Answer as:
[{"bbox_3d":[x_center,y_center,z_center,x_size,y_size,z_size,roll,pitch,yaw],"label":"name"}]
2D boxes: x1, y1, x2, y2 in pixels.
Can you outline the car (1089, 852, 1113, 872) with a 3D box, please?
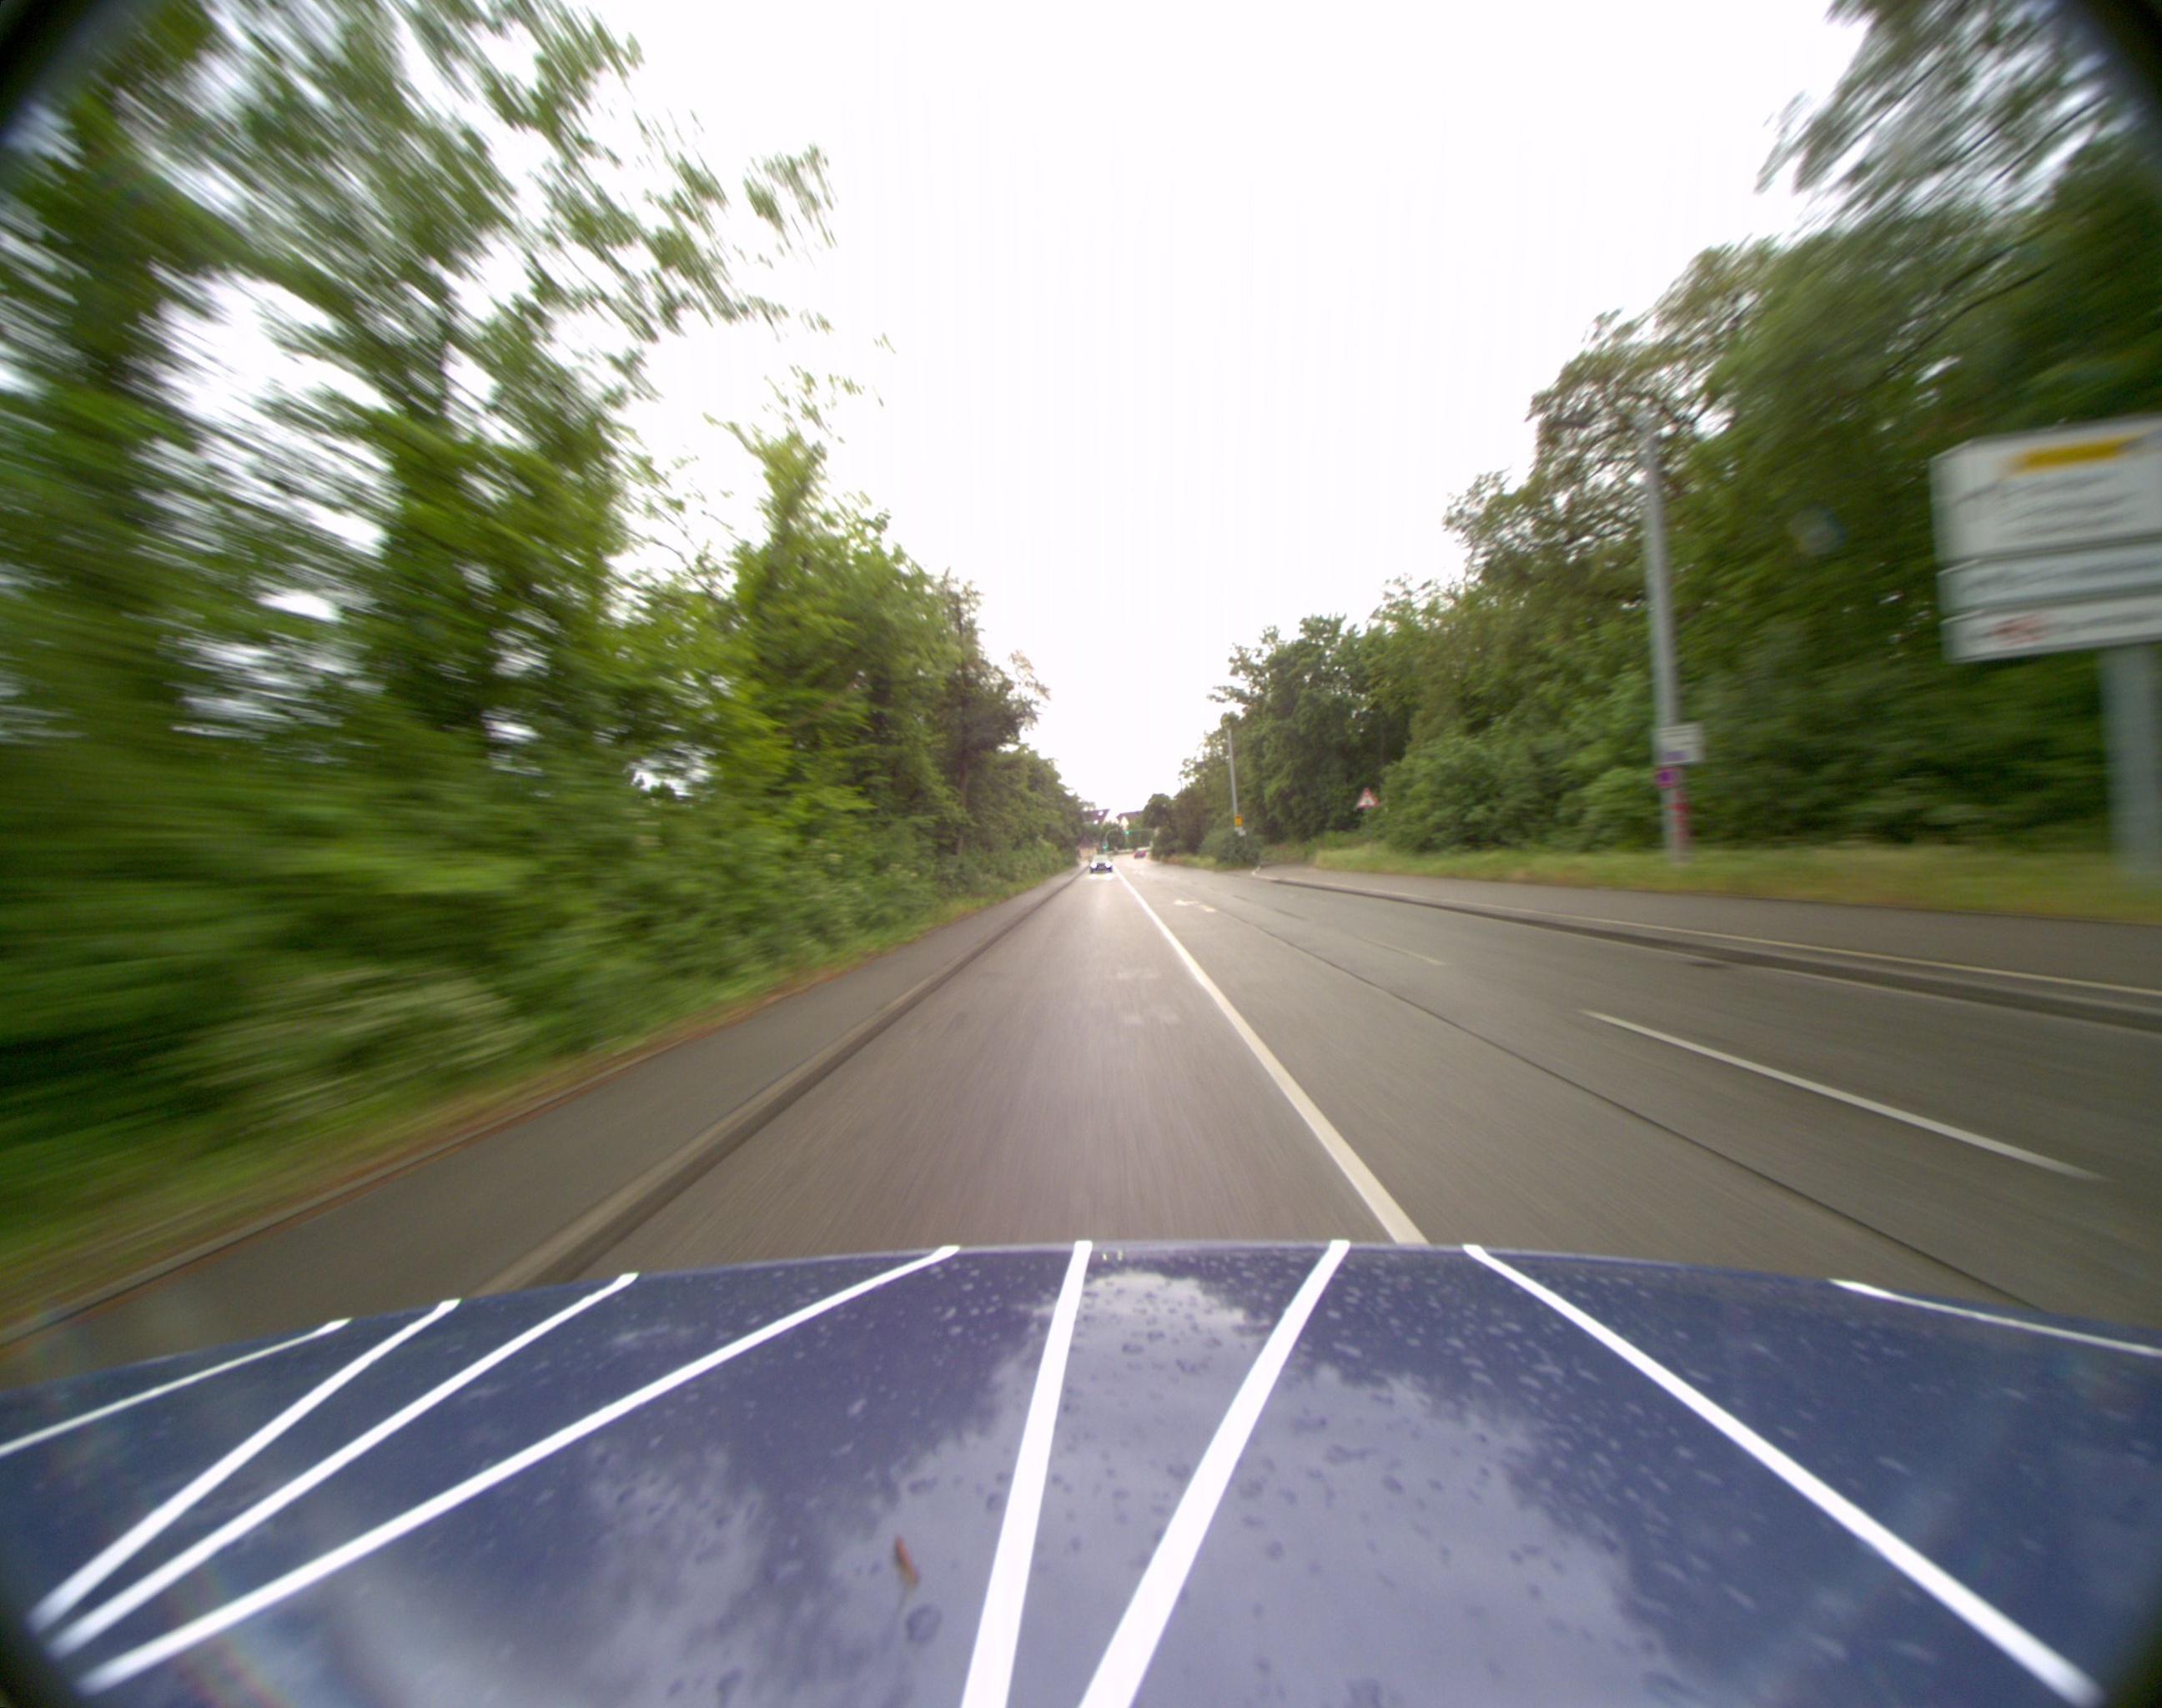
[{"bbox_3d":[1.663,0.682,61.678,1.831,1.511,4.002,1,-2,4],"label":"car"}]
